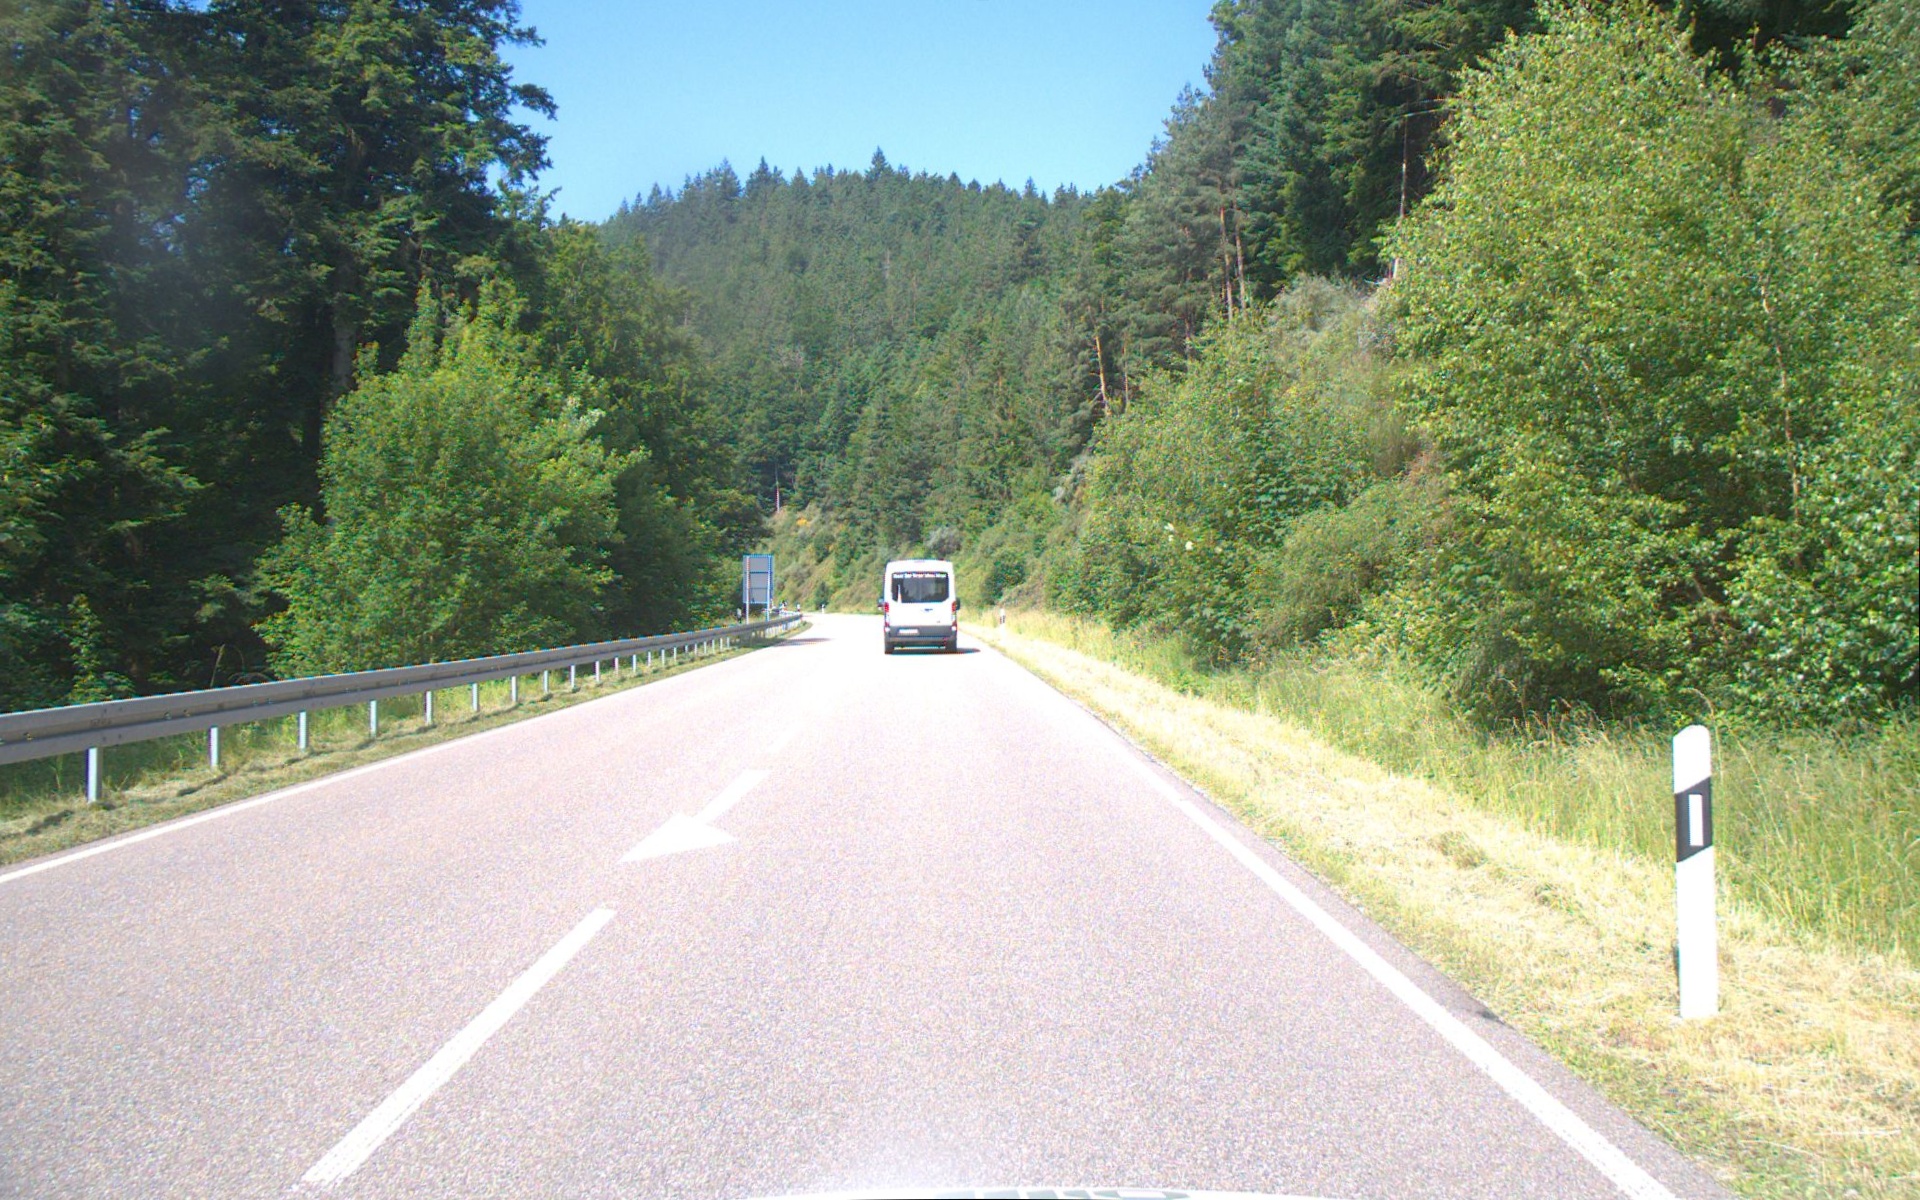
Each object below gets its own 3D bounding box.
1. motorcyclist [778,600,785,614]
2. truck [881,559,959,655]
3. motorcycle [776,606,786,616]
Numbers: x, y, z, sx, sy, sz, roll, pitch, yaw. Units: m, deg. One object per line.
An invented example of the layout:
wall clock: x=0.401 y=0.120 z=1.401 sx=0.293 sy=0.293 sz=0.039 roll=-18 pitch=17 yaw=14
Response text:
motorcyclist: x=-19.677 y=0.752 z=182.256 sx=0.645 sy=1.539 sz=0.933 roll=-2 pitch=0 yaw=-4
truck: x=-1.080 y=0.187 z=45.989 sx=2.041 sy=2.503 sz=4.874 roll=0 pitch=0 yaw=-1
motorcycle: x=-19.700 y=1.175 z=182.332 sx=0.965 sy=1.090 sz=1.961 roll=-1 pitch=0 yaw=-4
